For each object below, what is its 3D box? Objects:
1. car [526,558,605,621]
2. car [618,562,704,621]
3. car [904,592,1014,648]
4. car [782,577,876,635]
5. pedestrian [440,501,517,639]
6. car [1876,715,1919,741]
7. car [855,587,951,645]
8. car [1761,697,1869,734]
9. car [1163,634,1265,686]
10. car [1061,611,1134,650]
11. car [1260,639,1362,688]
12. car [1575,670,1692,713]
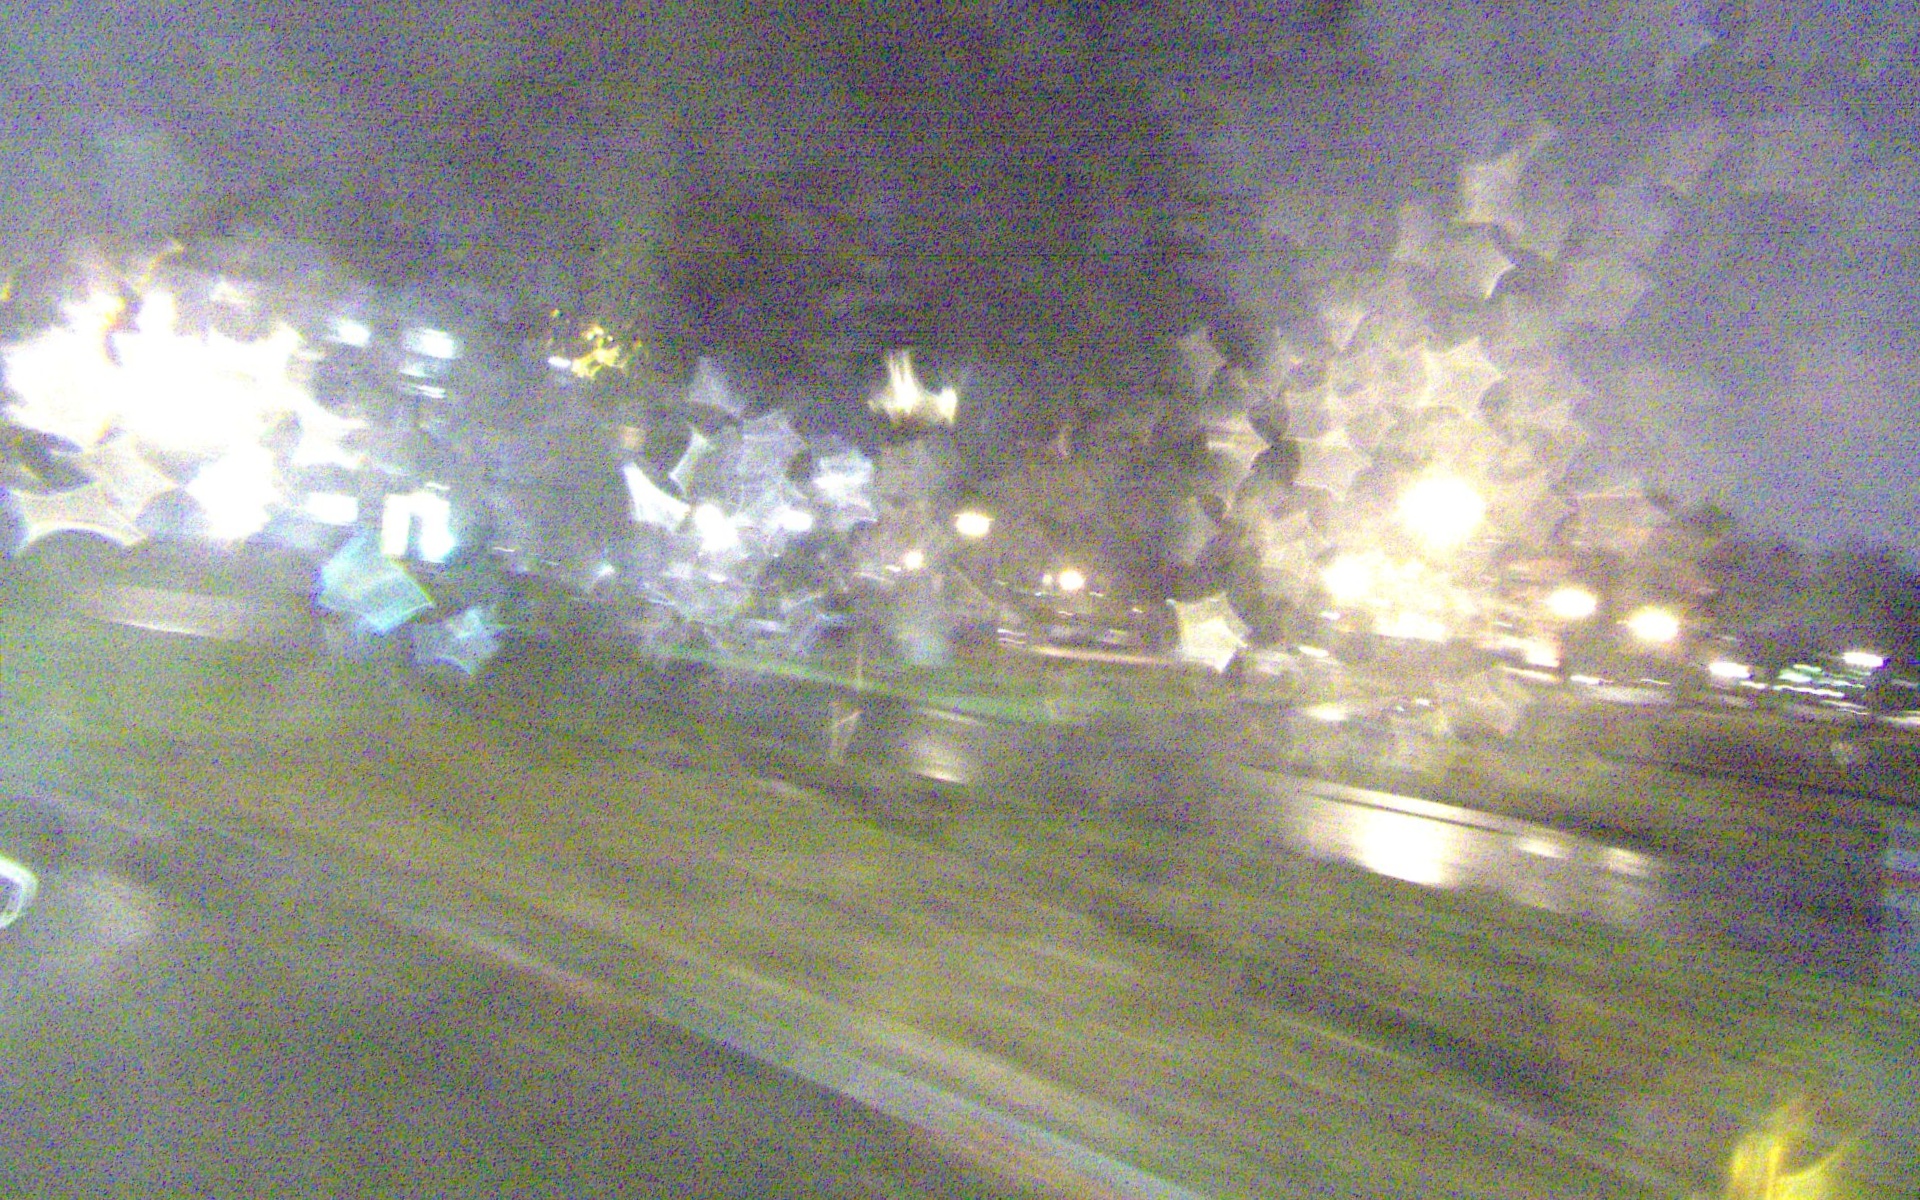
[{"bbox_3d":[-11.680,-0.355,29.645,1.701,1.515,3.885,7,0,-27],"label":"car"},{"bbox_3d":[-9.057,-0.210,30.282,1.701,1.514,3.889,6,-3,-27],"label":"car"},{"bbox_3d":[-0.040,0.819,41.133,4.018,1.702,1.781,8,0,-26],"label":"car"},{"bbox_3d":[-4.346,0.164,32.841,1.701,1.515,3.885,7,0,-27],"label":"car"},{"bbox_3d":[-7.132,-0.444,14.881,0.650,1.925,0.720,6,1,-44],"label":"pedestrian"},{"bbox_3d":[65.671,8.942,68.721,1.701,1.391,4.122,7,-1,-27],"label":"car"},{"bbox_3d":[-2.003,0.514,34.072,1.701,1.555,3.885,7,0,-27],"label":"car"},{"bbox_3d":[54.869,7.399,64.672,1.701,1.555,4.962,7,-1,-27],"label":"car"},{"bbox_3d":[10.182,2.397,40.599,1.701,1.555,3.885,7,0,-27],"label":"car"},{"bbox_3d":[6.985,1.548,51.462,1.701,1.555,3.885,7,0,-27],"label":"car"},{"bbox_3d":[14.868,2.658,42.801,1.701,1.555,3.885,7,0,-27],"label":"car"},{"bbox_3d":[36.200,4.907,54.227,1.701,1.555,4.962,7,-1,-27],"label":"car"}]
